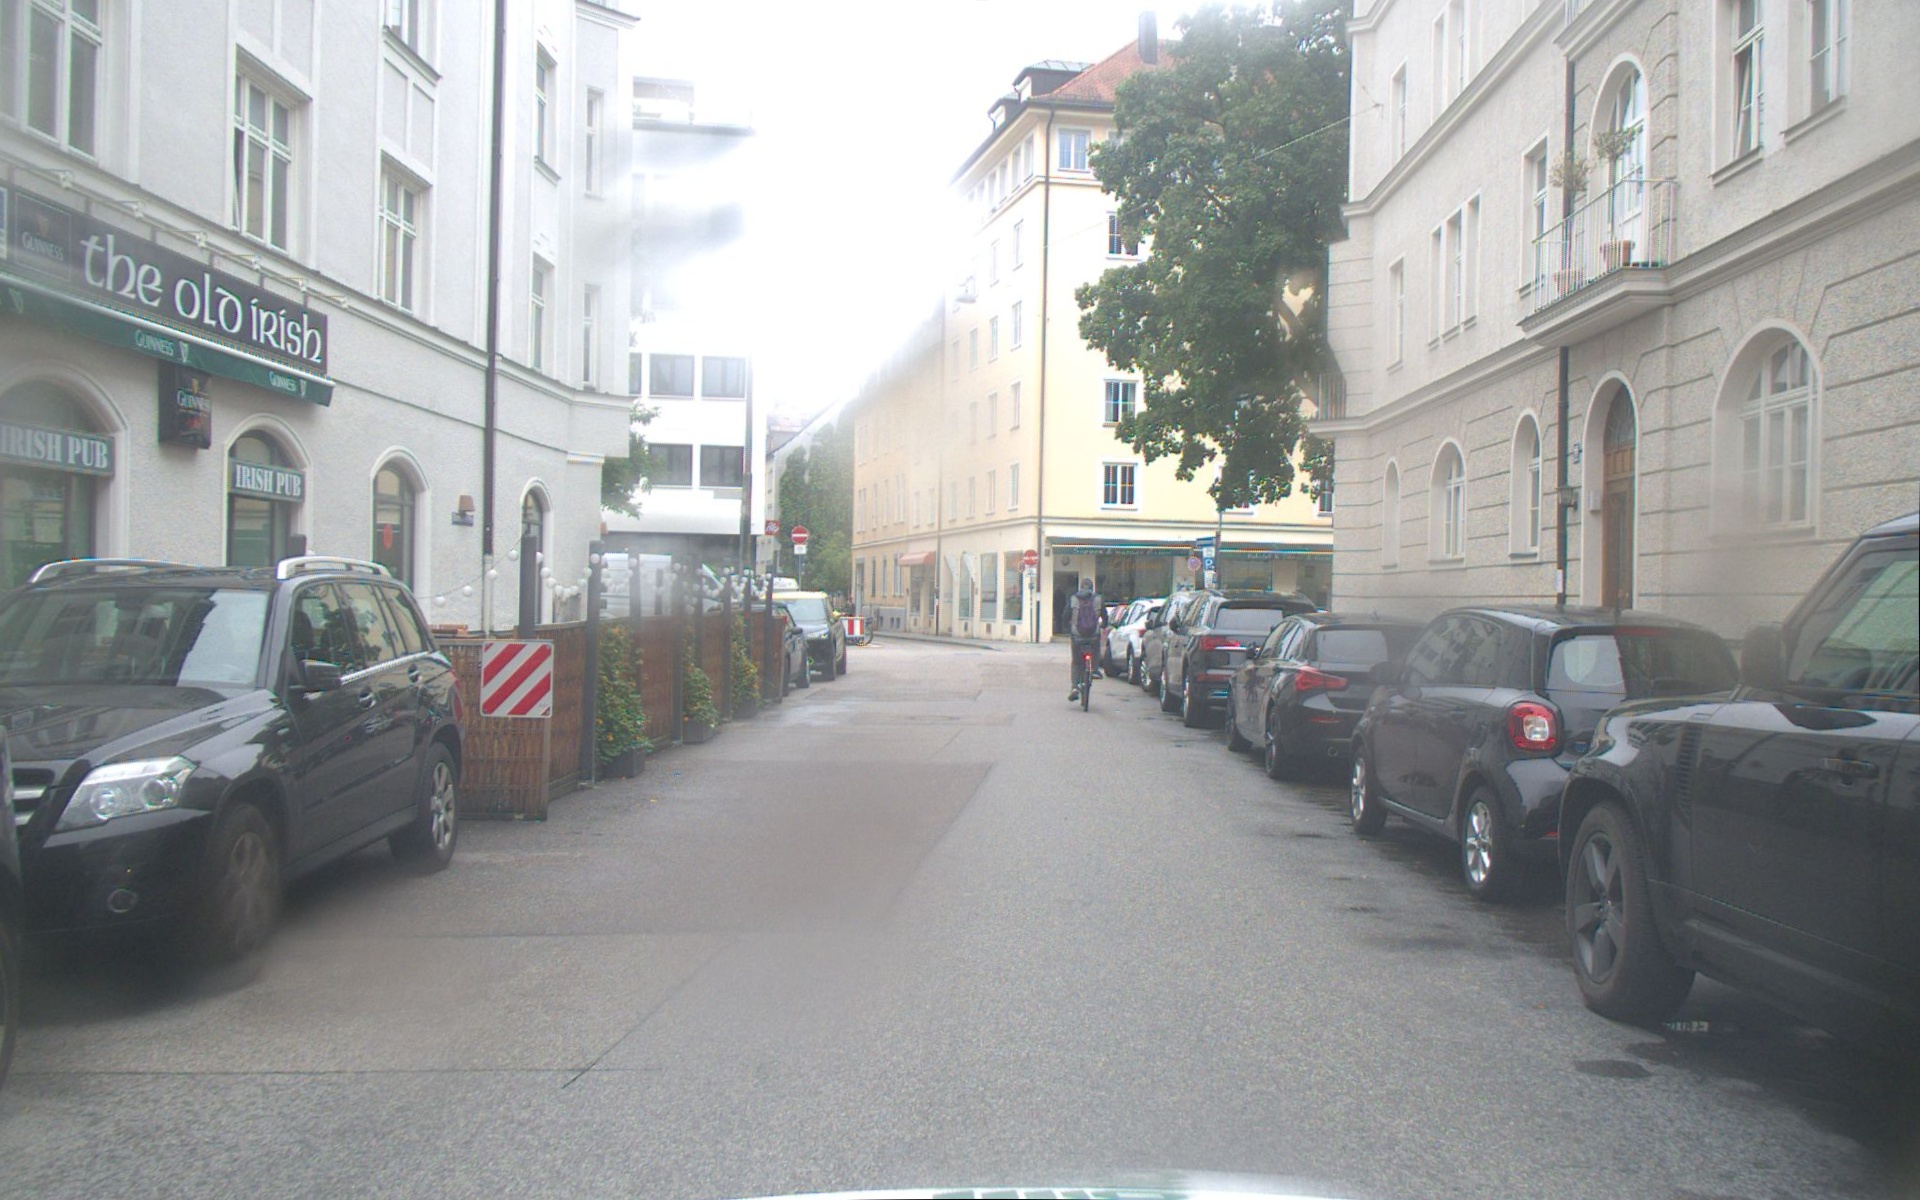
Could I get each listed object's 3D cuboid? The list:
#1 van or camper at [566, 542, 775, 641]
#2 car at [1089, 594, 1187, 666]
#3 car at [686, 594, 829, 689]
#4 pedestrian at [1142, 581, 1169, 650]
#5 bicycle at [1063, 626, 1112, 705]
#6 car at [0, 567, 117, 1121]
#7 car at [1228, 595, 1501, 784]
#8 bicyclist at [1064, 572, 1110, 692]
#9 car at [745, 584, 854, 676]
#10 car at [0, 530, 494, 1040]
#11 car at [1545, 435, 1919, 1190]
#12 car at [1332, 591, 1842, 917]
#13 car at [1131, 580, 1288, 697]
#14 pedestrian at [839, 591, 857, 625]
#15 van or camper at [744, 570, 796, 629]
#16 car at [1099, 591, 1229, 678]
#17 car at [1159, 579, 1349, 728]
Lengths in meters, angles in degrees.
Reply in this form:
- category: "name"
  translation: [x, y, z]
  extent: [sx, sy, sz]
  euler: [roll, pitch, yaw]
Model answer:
- category: "van or camper"
  translation: [-8.280, -0.201, 47.612]
  extent: [5.796, 2.724, 1.869]
  euler: [1, -2, -10]
- category: "car"
  translation: [3.936, 0.621, 37.122]
  extent: [1.635, 1.460, 4.213]
  euler: [2, 0, -1]
- category: "car"
  translation: [-3.228, 0.630, 27.032]
  extent: [1.671, 1.414, 4.001]
  euler: [-1, 0, 2]
- category: "pedestrian"
  translation: [4.848, 0.384, 40.965]
  extent: [0.598, 1.690, 0.551]
  euler: [1, 0, 3]
- category: "bicycle"
  translation: [1.748, 0.885, 22.823]
  extent: [0.626, 1.022, 1.575]
  euler: [1, 0, 3]
- category: "car"
  translation: [-3.428, 0.673, 3.054]
  extent: [1.706, 1.513, 4.179]
  euler: [0, 0, -2]
- category: "car"
  translation: [3.632, 0.721, 15.578]
  extent: [1.671, 1.496, 4.202]
  euler: [1, 0, 2]
- category: "bicyclist"
  translation: [1.755, 0.430, 22.885]
  extent: [0.593, 1.635, 0.758]
  euler: [1, 0, 2]
- category: "car"
  translation: [-2.991, 0.546, 31.530]
  extent: [1.642, 1.625, 3.945]
  euler: [-1, 0, 0]
- category: "car"
  translation: [-3.577, 0.622, 7.701]
  extent: [1.711, 1.702, 4.273]
  euler: [-2, 1, -2]
- category: "car"
  translation: [3.398, 0.581, 4.342]
  extent: [1.872, 1.918, 4.713]
  euler: [3, 0, -1]
- category: "car"
  translation: [3.509, 0.753, 9.986]
  extent: [1.621, 1.552, 3.636]
  euler: [2, 0, -1]
- category: "car"
  translation: [3.978, 0.572, 27.047]
  extent: [1.753, 1.743, 4.425]
  euler: [1, 0, -2]
- category: "pedestrian"
  translation: [-5.975, 0.438, 88.325]
  extent: [0.862, 1.809, 0.771]
  euler: [1, 0, -12]
- category: "van or camper"
  translation: [-8.693, -0.037, 75.453]
  extent: [1.958, 2.584, 4.747]
  euler: [1, 0, -11]
- category: "car"
  translation: [3.829, 0.609, 31.624]
  extent: [1.716, 1.522, 3.906]
  euler: [1, 0, -4]
- category: "car"
  translation: [3.672, 0.609, 21.376]
  extent: [1.740, 1.664, 4.376]
  euler: [2, 0, 2]
